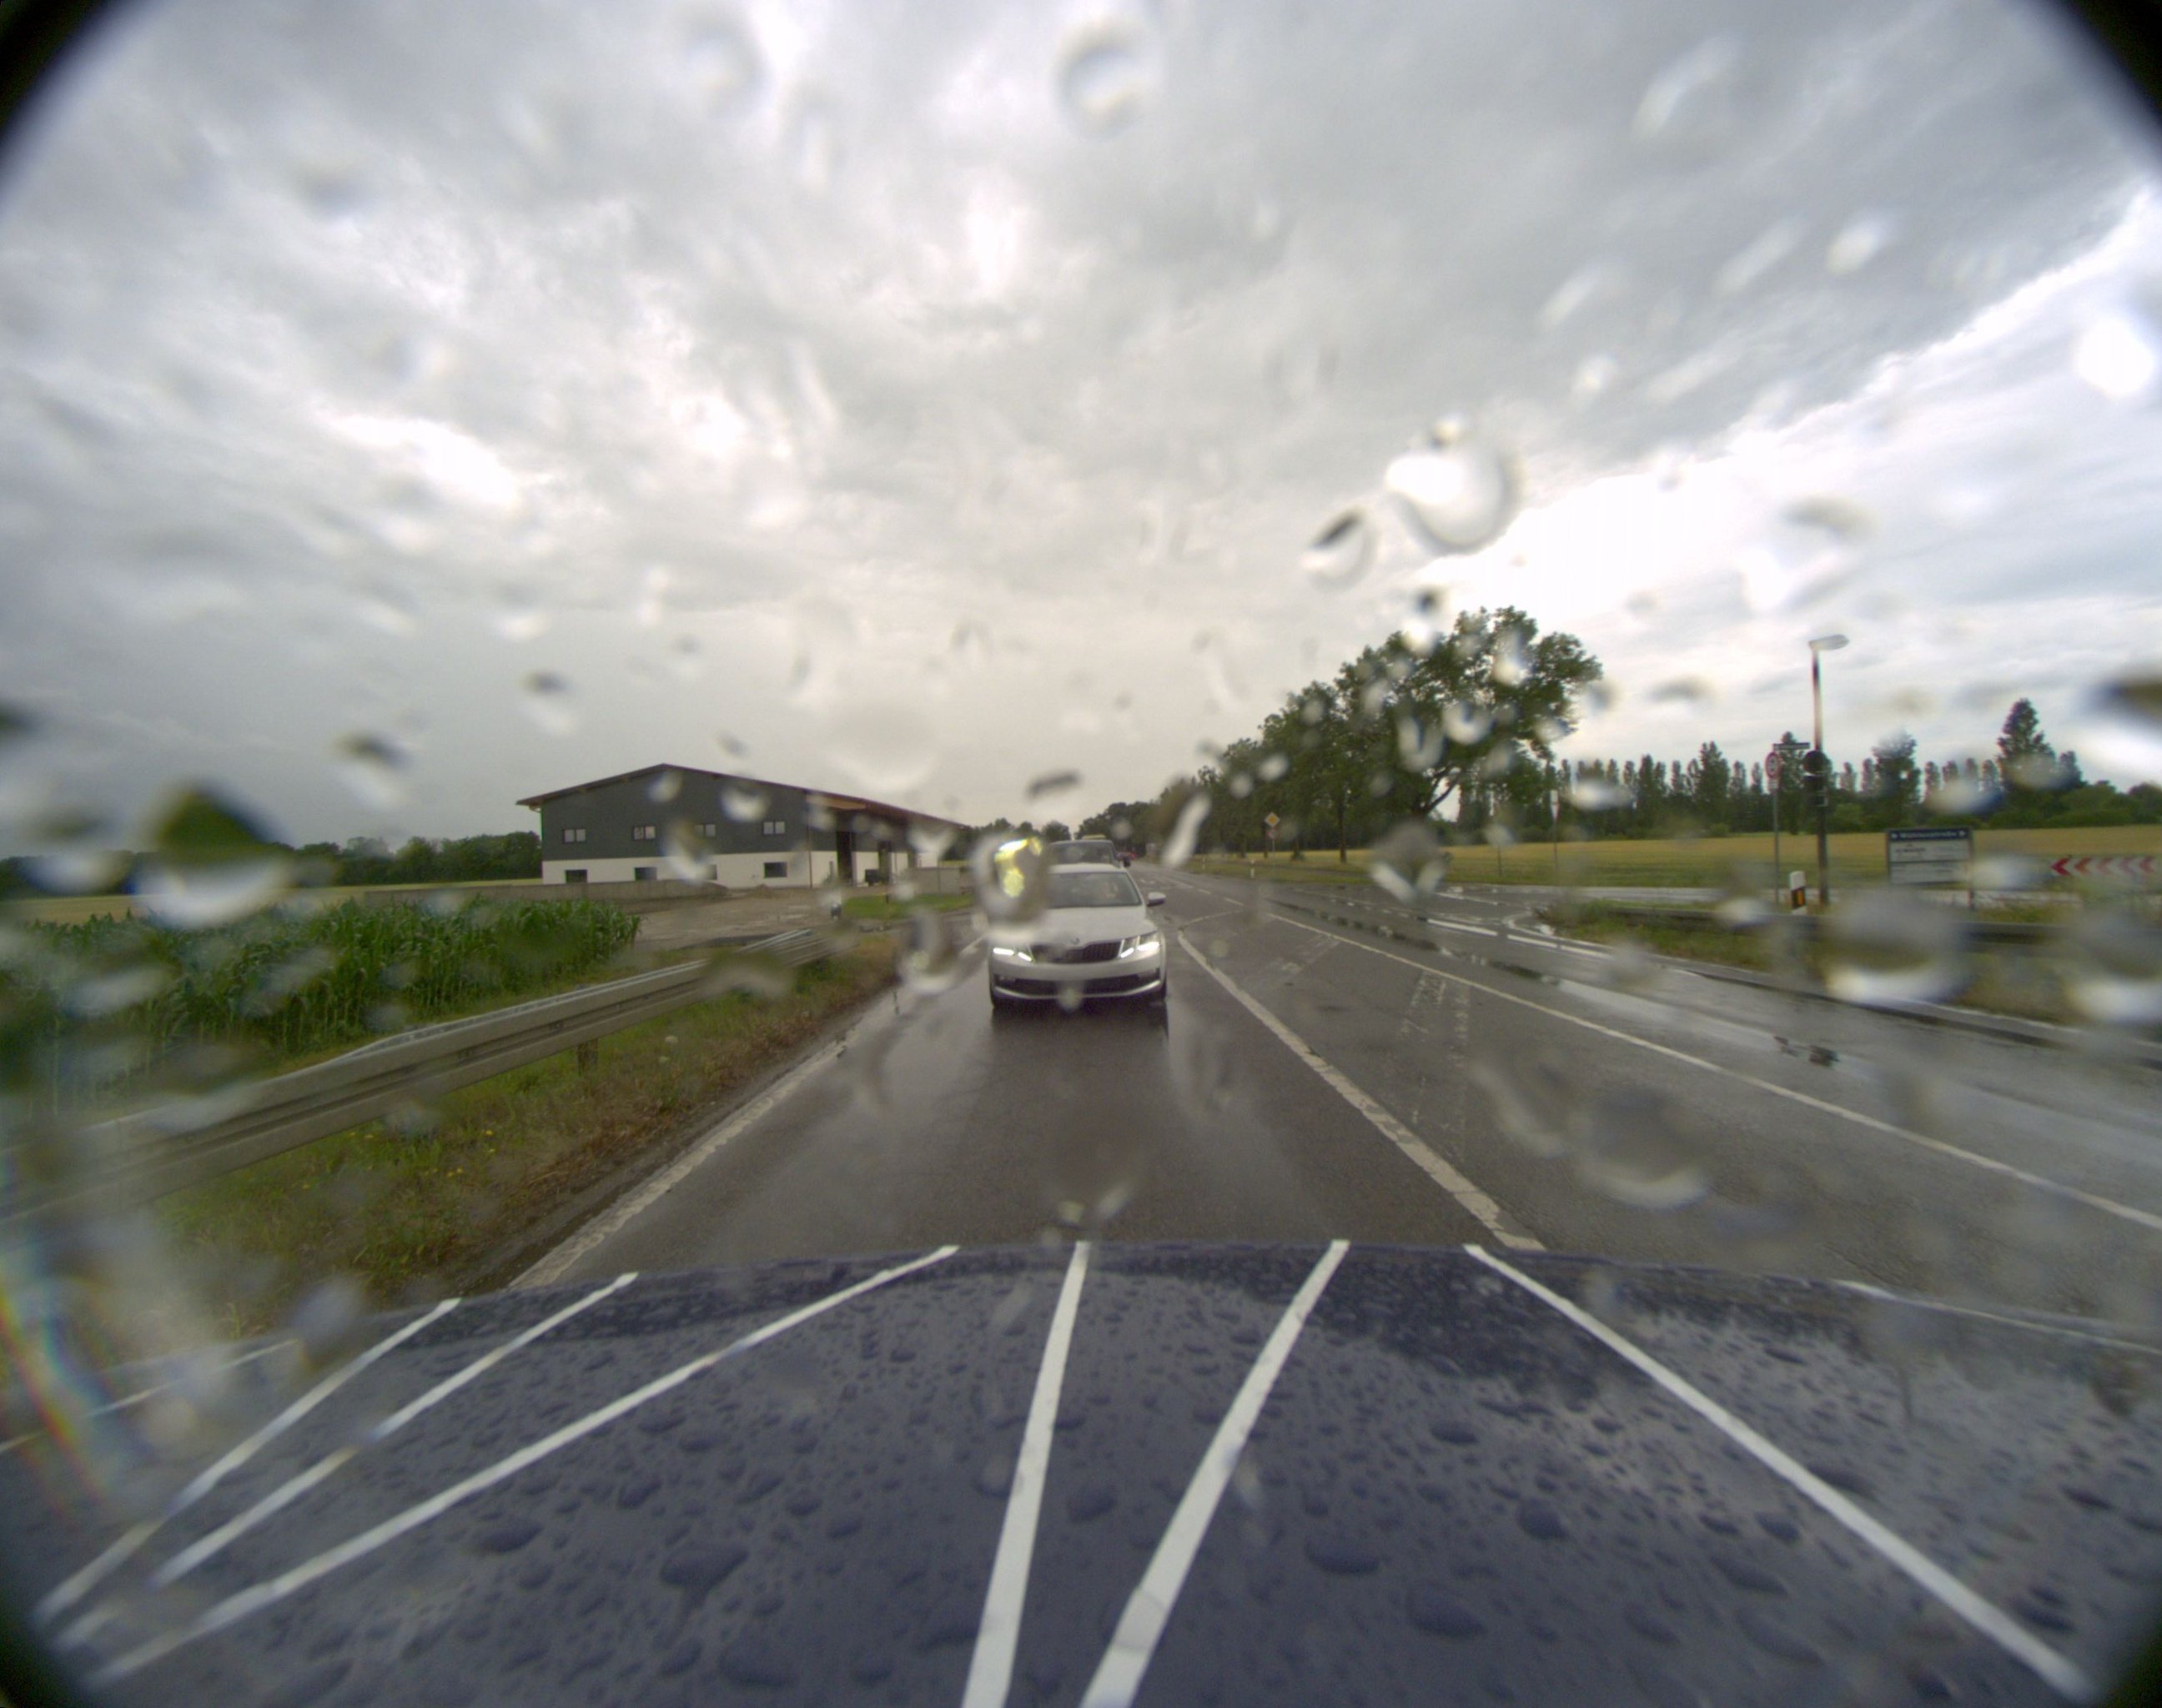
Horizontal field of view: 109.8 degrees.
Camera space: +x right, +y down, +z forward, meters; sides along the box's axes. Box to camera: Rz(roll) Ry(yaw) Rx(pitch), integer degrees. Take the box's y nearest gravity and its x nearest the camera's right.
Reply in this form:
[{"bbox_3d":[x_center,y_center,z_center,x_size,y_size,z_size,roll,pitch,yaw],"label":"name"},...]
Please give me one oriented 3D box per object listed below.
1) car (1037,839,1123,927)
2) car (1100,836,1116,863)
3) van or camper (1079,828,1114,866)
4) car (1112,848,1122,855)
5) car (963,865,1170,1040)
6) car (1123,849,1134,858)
[{"bbox_3d":[0.035,0.631,19.268,1.841,1.888,4.575,-2,1,2],"label":"car"},{"bbox_3d":[3.240,-0.503,92.169,1.771,3.134,4.028,-2,1,1],"label":"car"},{"bbox_3d":[1.682,-0.705,79.798,3.342,3.624,8.373,-2,1,2],"label":"van or camper"},{"bbox_3d":[7.752,-0.556,163.810,1.949,1.571,4.443,-2,0,1],"label":"car"},{"bbox_3d":[-0.066,0.907,8.987,1.770,1.365,4.575,-2,1,2],"label":"car"},{"bbox_3d":[8.154,-0.086,131.377,1.773,1.514,4.141,0,0,1],"label":"car"}]
